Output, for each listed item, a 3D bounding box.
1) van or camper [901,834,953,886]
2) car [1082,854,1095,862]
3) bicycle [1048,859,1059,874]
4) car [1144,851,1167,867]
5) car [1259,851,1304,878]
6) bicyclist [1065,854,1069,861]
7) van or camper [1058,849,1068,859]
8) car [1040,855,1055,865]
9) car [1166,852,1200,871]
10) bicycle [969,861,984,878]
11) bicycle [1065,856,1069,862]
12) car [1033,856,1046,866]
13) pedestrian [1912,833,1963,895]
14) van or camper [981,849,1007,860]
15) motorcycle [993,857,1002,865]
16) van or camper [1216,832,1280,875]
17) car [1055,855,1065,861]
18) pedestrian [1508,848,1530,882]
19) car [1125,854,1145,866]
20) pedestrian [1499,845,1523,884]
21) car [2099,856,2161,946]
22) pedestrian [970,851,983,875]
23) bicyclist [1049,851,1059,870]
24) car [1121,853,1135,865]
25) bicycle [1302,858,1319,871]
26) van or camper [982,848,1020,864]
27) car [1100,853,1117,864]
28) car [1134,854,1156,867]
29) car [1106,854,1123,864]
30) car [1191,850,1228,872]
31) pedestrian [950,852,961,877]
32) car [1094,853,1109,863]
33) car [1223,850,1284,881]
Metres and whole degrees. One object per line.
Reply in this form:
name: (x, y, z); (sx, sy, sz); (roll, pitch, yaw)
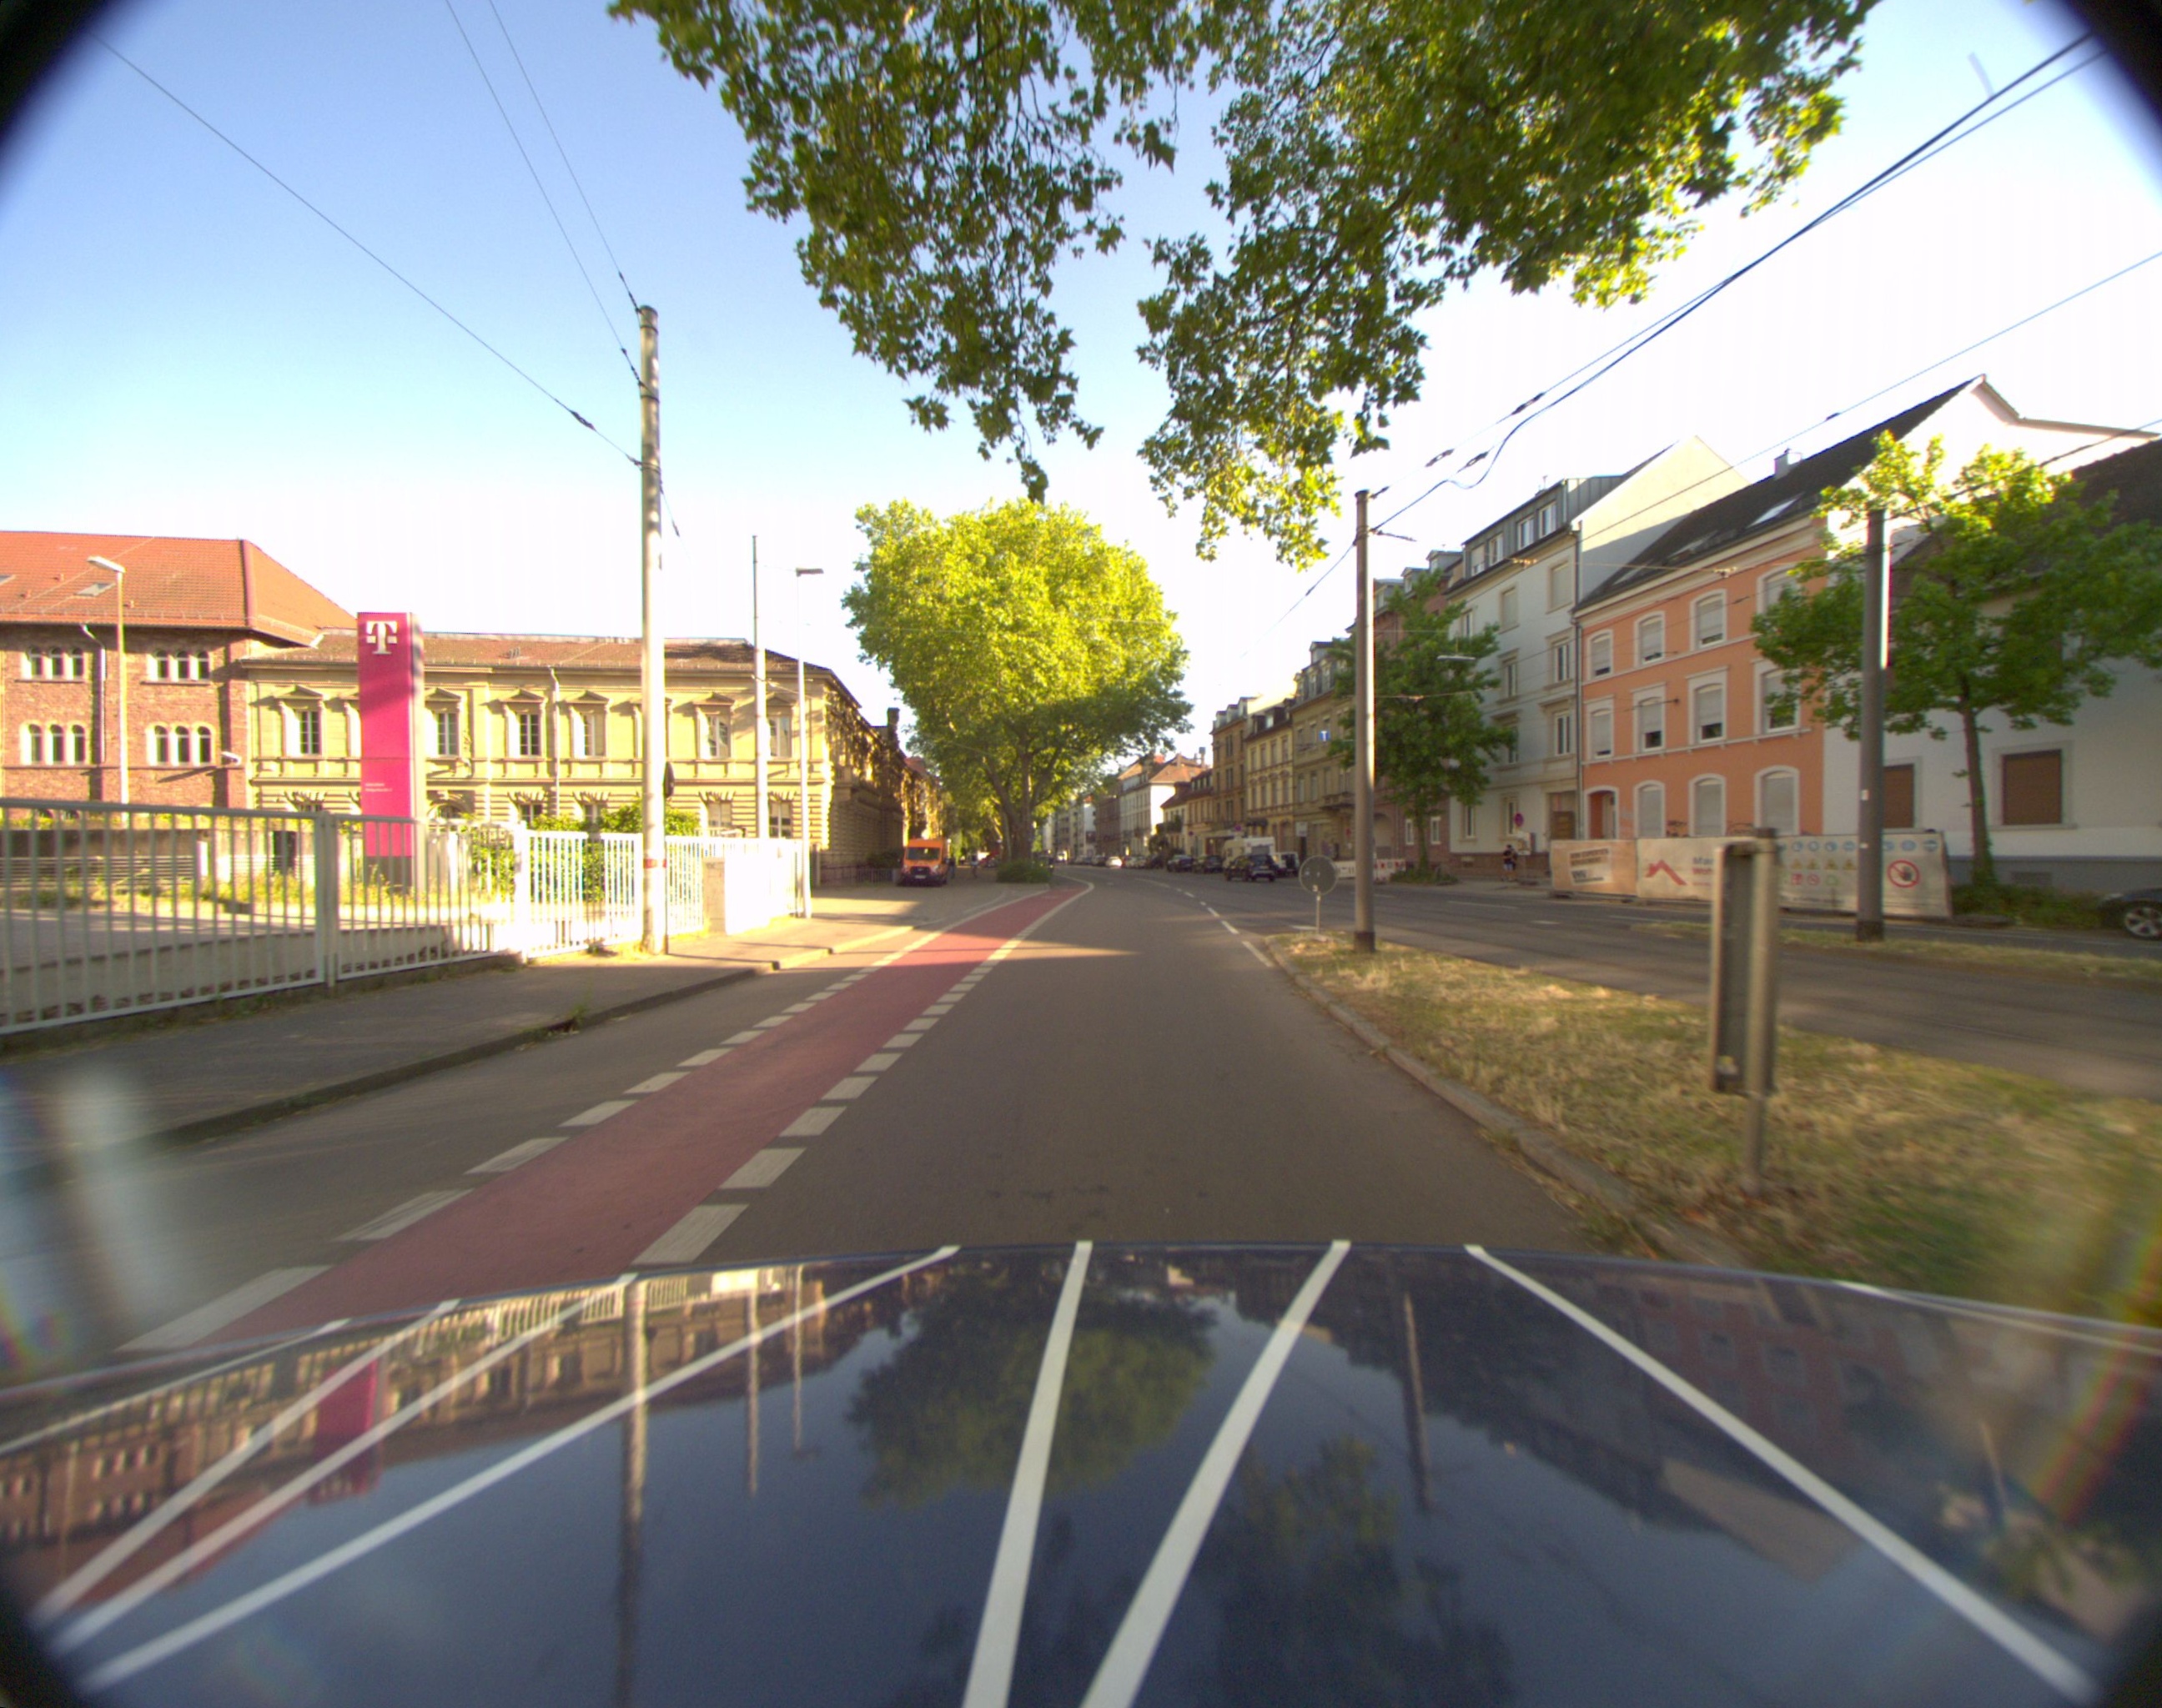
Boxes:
van or camper: (-7.969, 0.271, 39.896); (2.042, 2.544, 5.770); (0, 0, -5)
car: (1.384, 0.716, 137.532); (1.799, 1.368, 4.080); (-2, 0, -7)
bicycle: (-2.117, 0.967, 58.848); (0.715, 1.131, 2.119); (0, 0, -7)
car: (8.494, 0.578, 87.076); (1.729, 1.736, 3.623); (-4, 1, -7)
car: (13.591, 0.677, 51.765); (1.636, 1.696, 3.368); (-3, 1, -10)
bicyclist: (-2.792, 0.661, 151.563); (0.715, 1.508, 0.953); (0, 1, -7)
van or camper: (-4.262, -0.072, 178.699); (1.946, 2.267, 4.594); (-2, 0, -8)
car: (-4.645, 0.799, 105.290); (1.741, 1.365, 3.916); (-2, 0, -8)
car: (9.975, 0.689, 74.910); (2.000, 1.693, 4.747); (-4, 1, -8)
bicycle: (-7.174, 1.054, 52.032); (0.677, 1.026, 1.897); (2, 0, -17)
bicycle: (-2.760, 1.032, 151.685); (0.715, 1.131, 2.119); (0, 0, -7)
car: (-6.580, 1.094, 120.123); (1.741, 1.365, 3.916); (-2, 0, -8)
pedestrian: (21.978, 0.245, 19.499); (0.596, 1.561, 0.639); (-1, 1, -9)
van or camper: (-20.709, 0.074, 180.222); (6.103, 2.417, 2.426); (0, 0, -7)
motorcycle: (-11.018, 0.947, 100.375); (1.274, 1.048, 0.394); (-1, 1, -44)
van or camper: (12.615, -0.065, 57.954); (2.426, 2.930, 7.246); (-4, 1, -6)
car: (-5.063, 0.944, 184.133); (1.809, 1.534, 3.916); (-2, 0, -8)
pedestrian: (19.295, 0.489, 33.480); (0.577, 1.453, 0.607); (-3, 1, -8)
car: (6.894, 0.772, 96.774); (1.588, 1.482, 4.467); (-2, 0, -8)
pedestrian: (18.703, 0.463, 33.087); (0.569, 1.644, 0.687); (-3, 1, -9)
car: (19.328, 0.786, 11.239); (2.000, 1.505, 4.721); (0, 0, -8)
pedestrian: (-7.103, 0.612, 51.774); (0.672, 1.610, 1.100); (2, 1, -17)
bicyclist: (-2.114, 0.489, 58.827); (0.715, 1.435, 0.953); (0, 1, -6)
car: (6.335, 0.662, 102.152); (1.422, 1.502, 3.324); (-2, 0, -5)
bicycle: (16.984, 0.764, 56.171); (0.580, 0.919, 1.791); (0, 0, -5)
van or camper: (-12.755, 0.312, 120.619); (5.932, 2.484, 2.218); (0, 3, -9)
car: (4.245, 0.743, 117.426); (1.799, 1.587, 4.080); (-2, 0, -7)
car: (7.638, 0.747, 91.402); (1.668, 1.446, 4.401); (-3, 1, -8)
car: (4.935, 0.694, 112.305); (1.869, 1.423, 4.080); (-2, 0, -7)
car: (11.323, 0.603, 67.192); (1.816, 1.695, 4.440); (-4, 1, -8)
pedestrian: (-8.592, 0.716, 51.959); (0.652, 1.726, 1.007); (0, 1, -7)
car: (3.335, 0.627, 122.905); (1.799, 1.630, 4.251); (-2, 0, -7)
car: (9.894, 0.636, 43.916); (2.000, 1.679, 4.306); (0, 0, -9)
